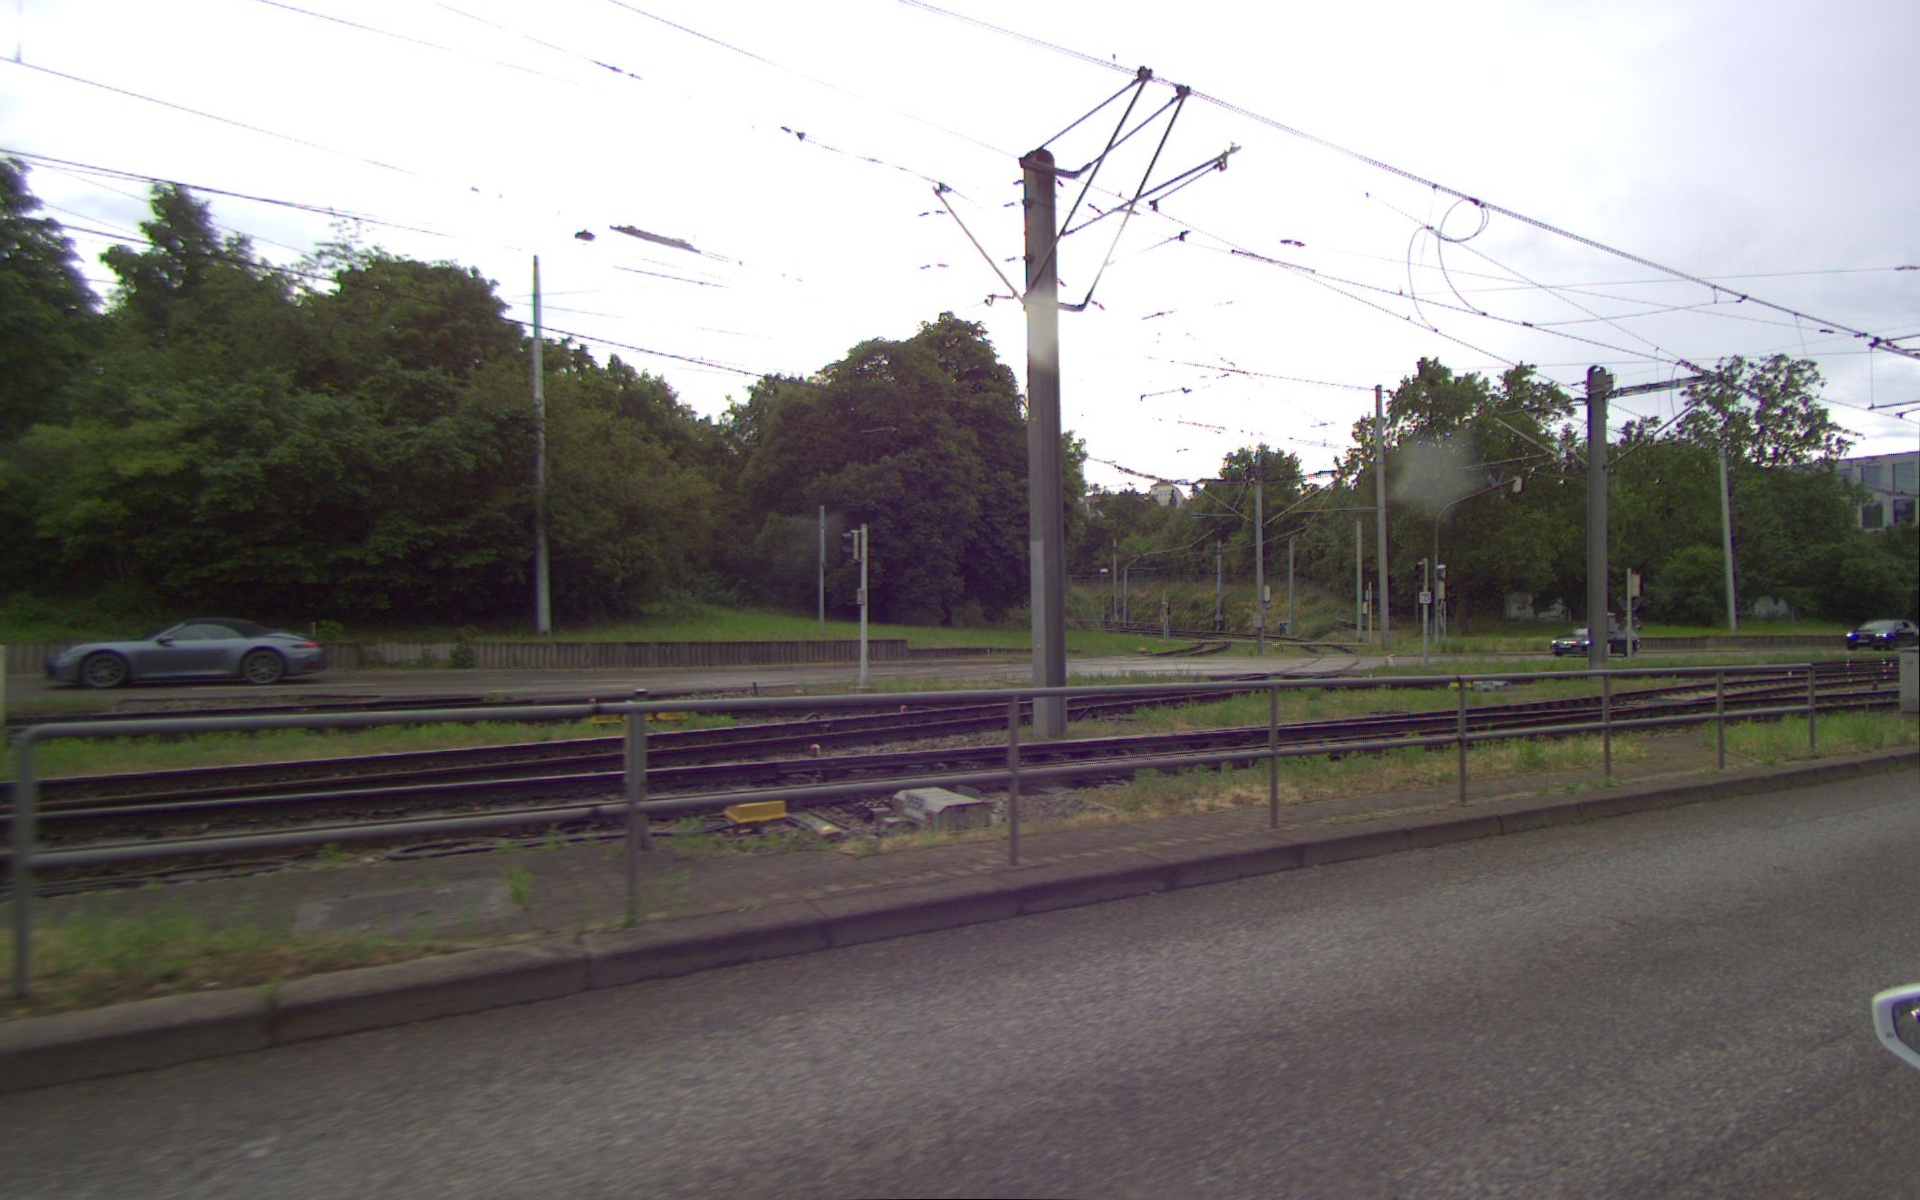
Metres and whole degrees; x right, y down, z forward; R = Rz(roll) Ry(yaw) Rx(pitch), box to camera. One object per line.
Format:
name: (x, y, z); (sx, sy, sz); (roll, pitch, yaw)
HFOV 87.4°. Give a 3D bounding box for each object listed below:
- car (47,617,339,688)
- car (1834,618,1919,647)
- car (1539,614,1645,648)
car: (-15.086, 0.999, 20.127); (4.422, 1.278, 1.917); (1, -1, -31)
car: (51.820, 1.817, 56.690); (5.093, 1.610, 2.081); (1, -1, -28)
car: (28.057, 1.365, 44.571); (4.623, 1.466, 1.920); (1, -1, -28)
